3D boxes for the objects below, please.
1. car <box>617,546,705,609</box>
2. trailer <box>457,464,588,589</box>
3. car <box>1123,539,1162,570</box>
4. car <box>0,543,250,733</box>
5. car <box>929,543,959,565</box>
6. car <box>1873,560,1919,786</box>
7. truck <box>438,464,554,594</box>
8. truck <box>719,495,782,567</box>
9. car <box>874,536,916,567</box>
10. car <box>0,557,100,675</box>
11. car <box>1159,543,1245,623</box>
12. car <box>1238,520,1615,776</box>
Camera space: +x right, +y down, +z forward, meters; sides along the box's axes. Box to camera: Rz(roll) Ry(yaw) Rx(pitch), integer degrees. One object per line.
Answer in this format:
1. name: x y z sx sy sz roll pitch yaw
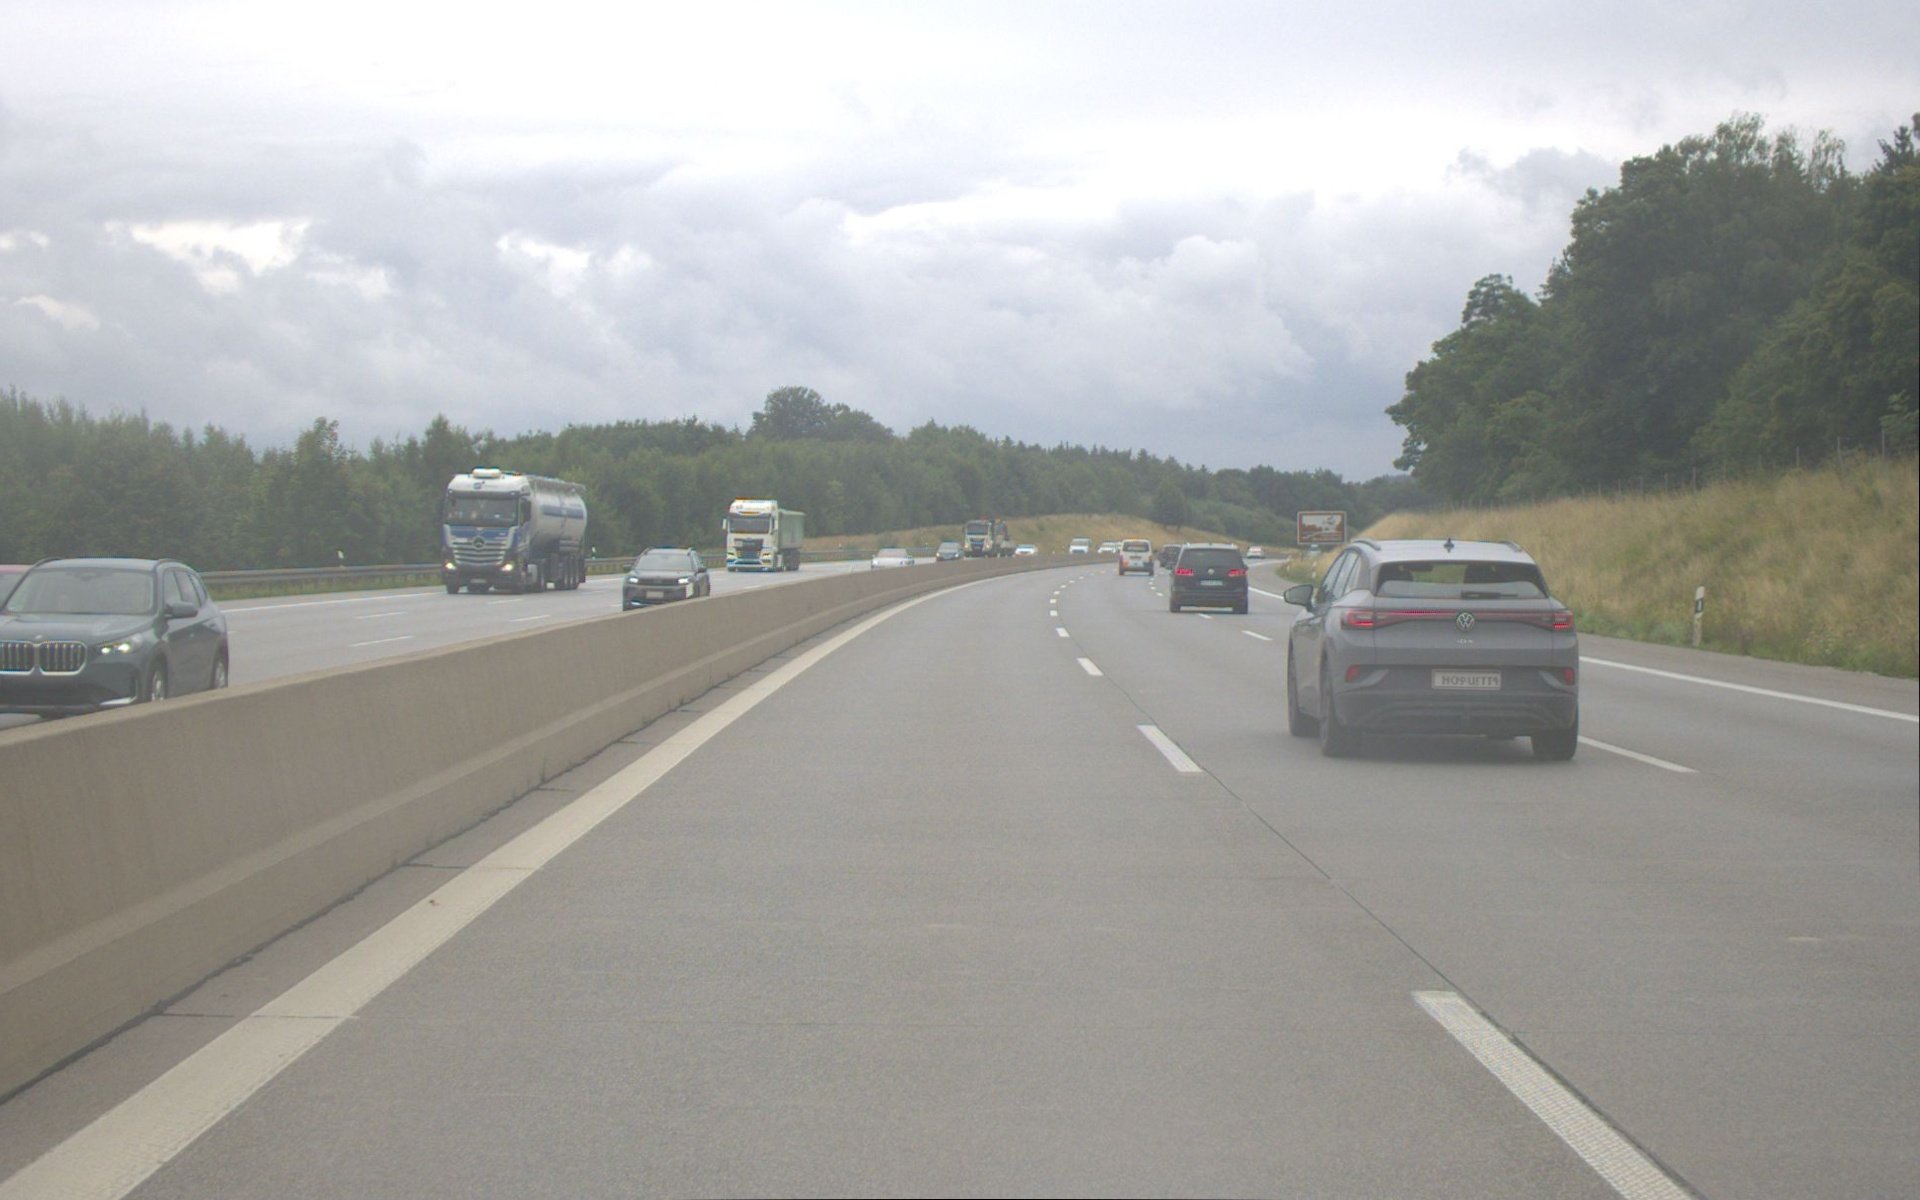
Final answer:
1. car: -7.385 -0.577 85.244 1.792 1.412 4.343 1 2 0
2. trailer: -14.790 -2.600 117.043 2.758 3.984 12.291 1 2 0
3. car: 9.911 -2.480 186.781 1.841 1.495 4.000 -2 2 6
4. car: -8.220 0.302 33.177 1.722 1.582 4.972 -1 2 0
5. car: -1.140 -3.373 253.250 1.994 1.584 4.771 1 1 2
6. car: 7.104 0.528 22.003 1.485 1.465 3.505 0 2 -2
7. truck: -14.861 -2.351 110.502 2.746 3.985 6.931 1 2 0
8. truck: -11.260 -3.708 185.175 2.750 3.789 5.530 1 0 2
9. car: -3.373 -2.515 178.706 1.993 1.436 4.768 2 2 1
10. car: -12.226 0.160 43.608 1.518 1.388 4.487 1 1 0
11. car: 5.855 -0.434 83.641 1.785 1.741 3.915 -2 2 1
12. car: 3.468 0.275 26.590 1.898 1.684 5.267 1 2 -3
